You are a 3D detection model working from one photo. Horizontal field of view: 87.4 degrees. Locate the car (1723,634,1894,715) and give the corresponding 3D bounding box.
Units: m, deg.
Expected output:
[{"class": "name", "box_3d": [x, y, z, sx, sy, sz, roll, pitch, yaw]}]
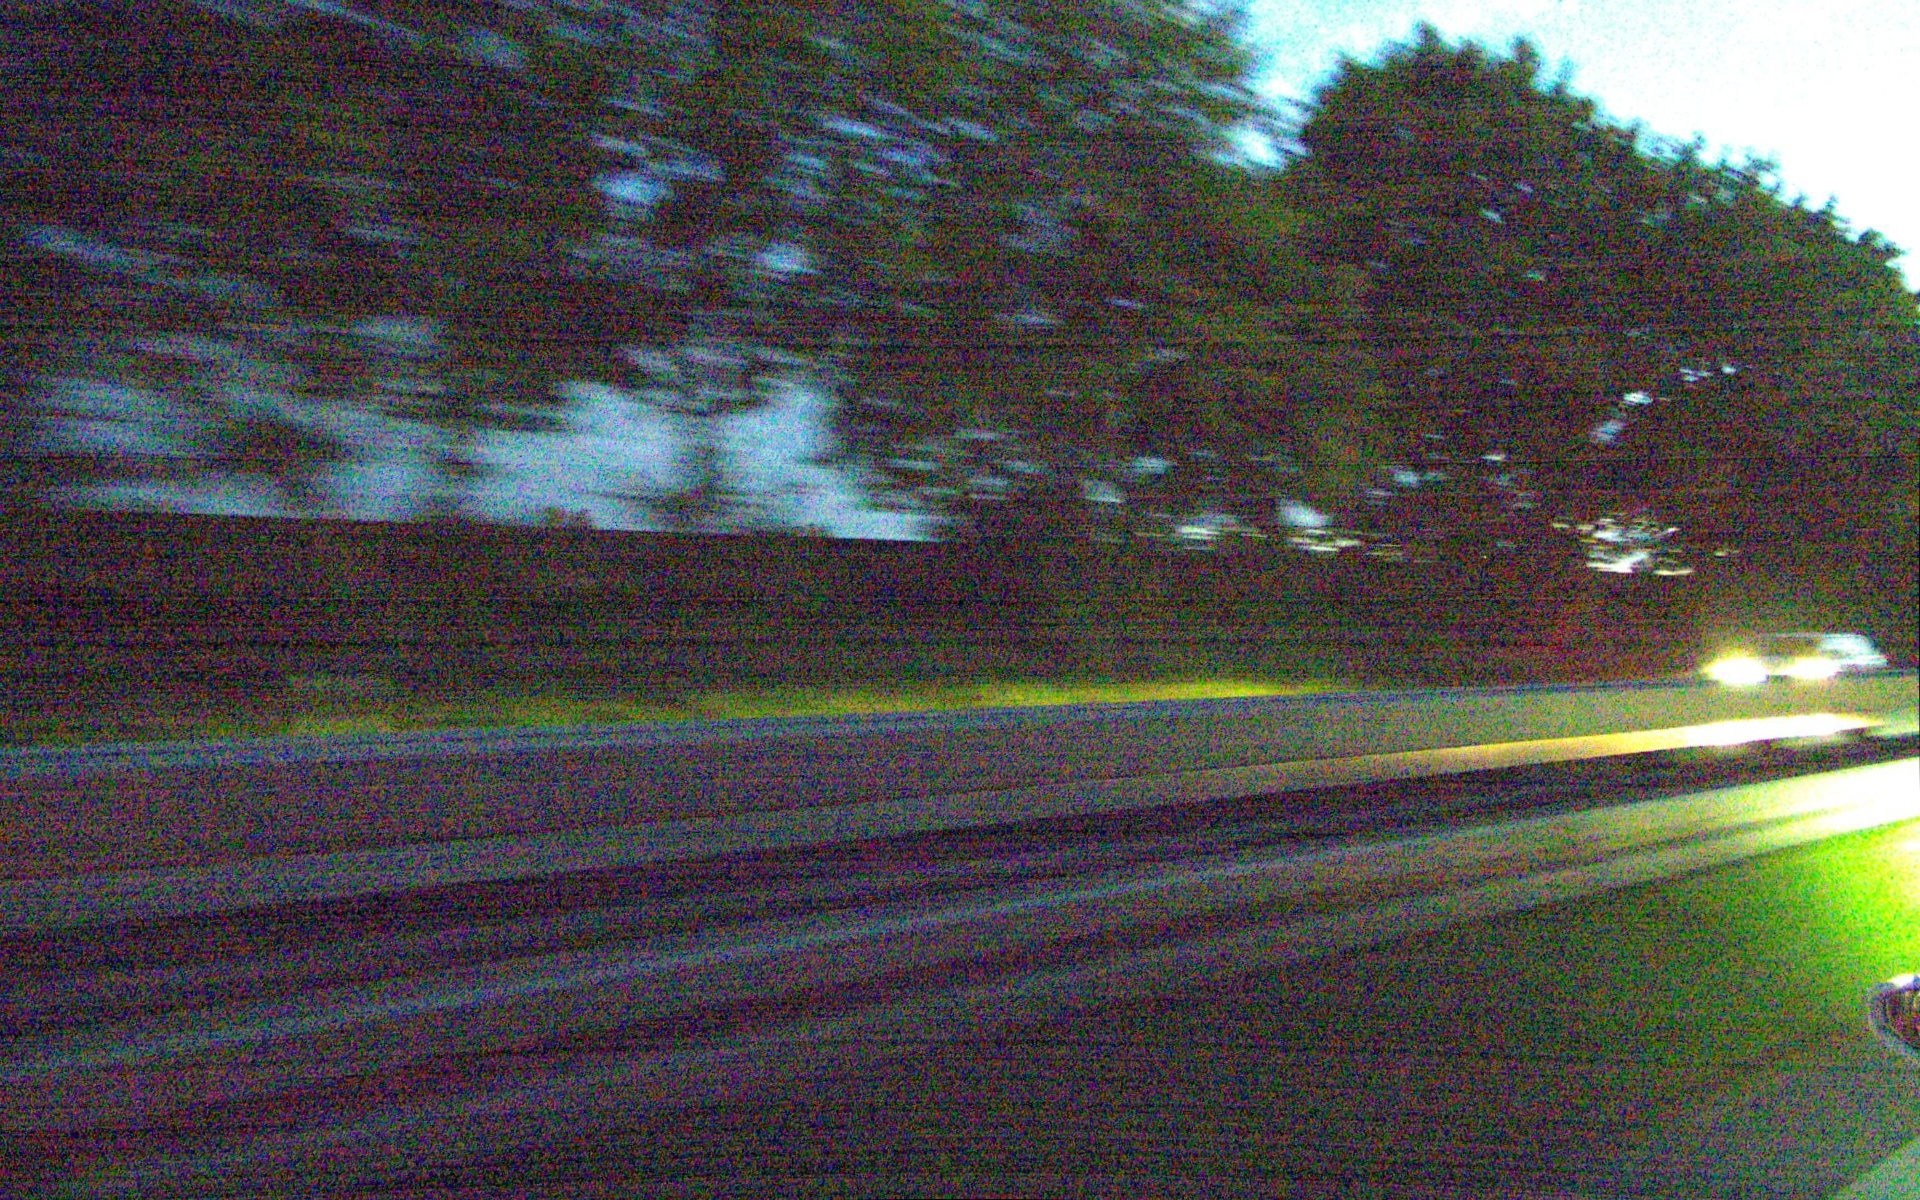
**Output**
[{"class": "car", "box_3d": [18.152, 1.556, 21.468, 3.824, 1.527, 1.609, 2, 0, -31]}]
